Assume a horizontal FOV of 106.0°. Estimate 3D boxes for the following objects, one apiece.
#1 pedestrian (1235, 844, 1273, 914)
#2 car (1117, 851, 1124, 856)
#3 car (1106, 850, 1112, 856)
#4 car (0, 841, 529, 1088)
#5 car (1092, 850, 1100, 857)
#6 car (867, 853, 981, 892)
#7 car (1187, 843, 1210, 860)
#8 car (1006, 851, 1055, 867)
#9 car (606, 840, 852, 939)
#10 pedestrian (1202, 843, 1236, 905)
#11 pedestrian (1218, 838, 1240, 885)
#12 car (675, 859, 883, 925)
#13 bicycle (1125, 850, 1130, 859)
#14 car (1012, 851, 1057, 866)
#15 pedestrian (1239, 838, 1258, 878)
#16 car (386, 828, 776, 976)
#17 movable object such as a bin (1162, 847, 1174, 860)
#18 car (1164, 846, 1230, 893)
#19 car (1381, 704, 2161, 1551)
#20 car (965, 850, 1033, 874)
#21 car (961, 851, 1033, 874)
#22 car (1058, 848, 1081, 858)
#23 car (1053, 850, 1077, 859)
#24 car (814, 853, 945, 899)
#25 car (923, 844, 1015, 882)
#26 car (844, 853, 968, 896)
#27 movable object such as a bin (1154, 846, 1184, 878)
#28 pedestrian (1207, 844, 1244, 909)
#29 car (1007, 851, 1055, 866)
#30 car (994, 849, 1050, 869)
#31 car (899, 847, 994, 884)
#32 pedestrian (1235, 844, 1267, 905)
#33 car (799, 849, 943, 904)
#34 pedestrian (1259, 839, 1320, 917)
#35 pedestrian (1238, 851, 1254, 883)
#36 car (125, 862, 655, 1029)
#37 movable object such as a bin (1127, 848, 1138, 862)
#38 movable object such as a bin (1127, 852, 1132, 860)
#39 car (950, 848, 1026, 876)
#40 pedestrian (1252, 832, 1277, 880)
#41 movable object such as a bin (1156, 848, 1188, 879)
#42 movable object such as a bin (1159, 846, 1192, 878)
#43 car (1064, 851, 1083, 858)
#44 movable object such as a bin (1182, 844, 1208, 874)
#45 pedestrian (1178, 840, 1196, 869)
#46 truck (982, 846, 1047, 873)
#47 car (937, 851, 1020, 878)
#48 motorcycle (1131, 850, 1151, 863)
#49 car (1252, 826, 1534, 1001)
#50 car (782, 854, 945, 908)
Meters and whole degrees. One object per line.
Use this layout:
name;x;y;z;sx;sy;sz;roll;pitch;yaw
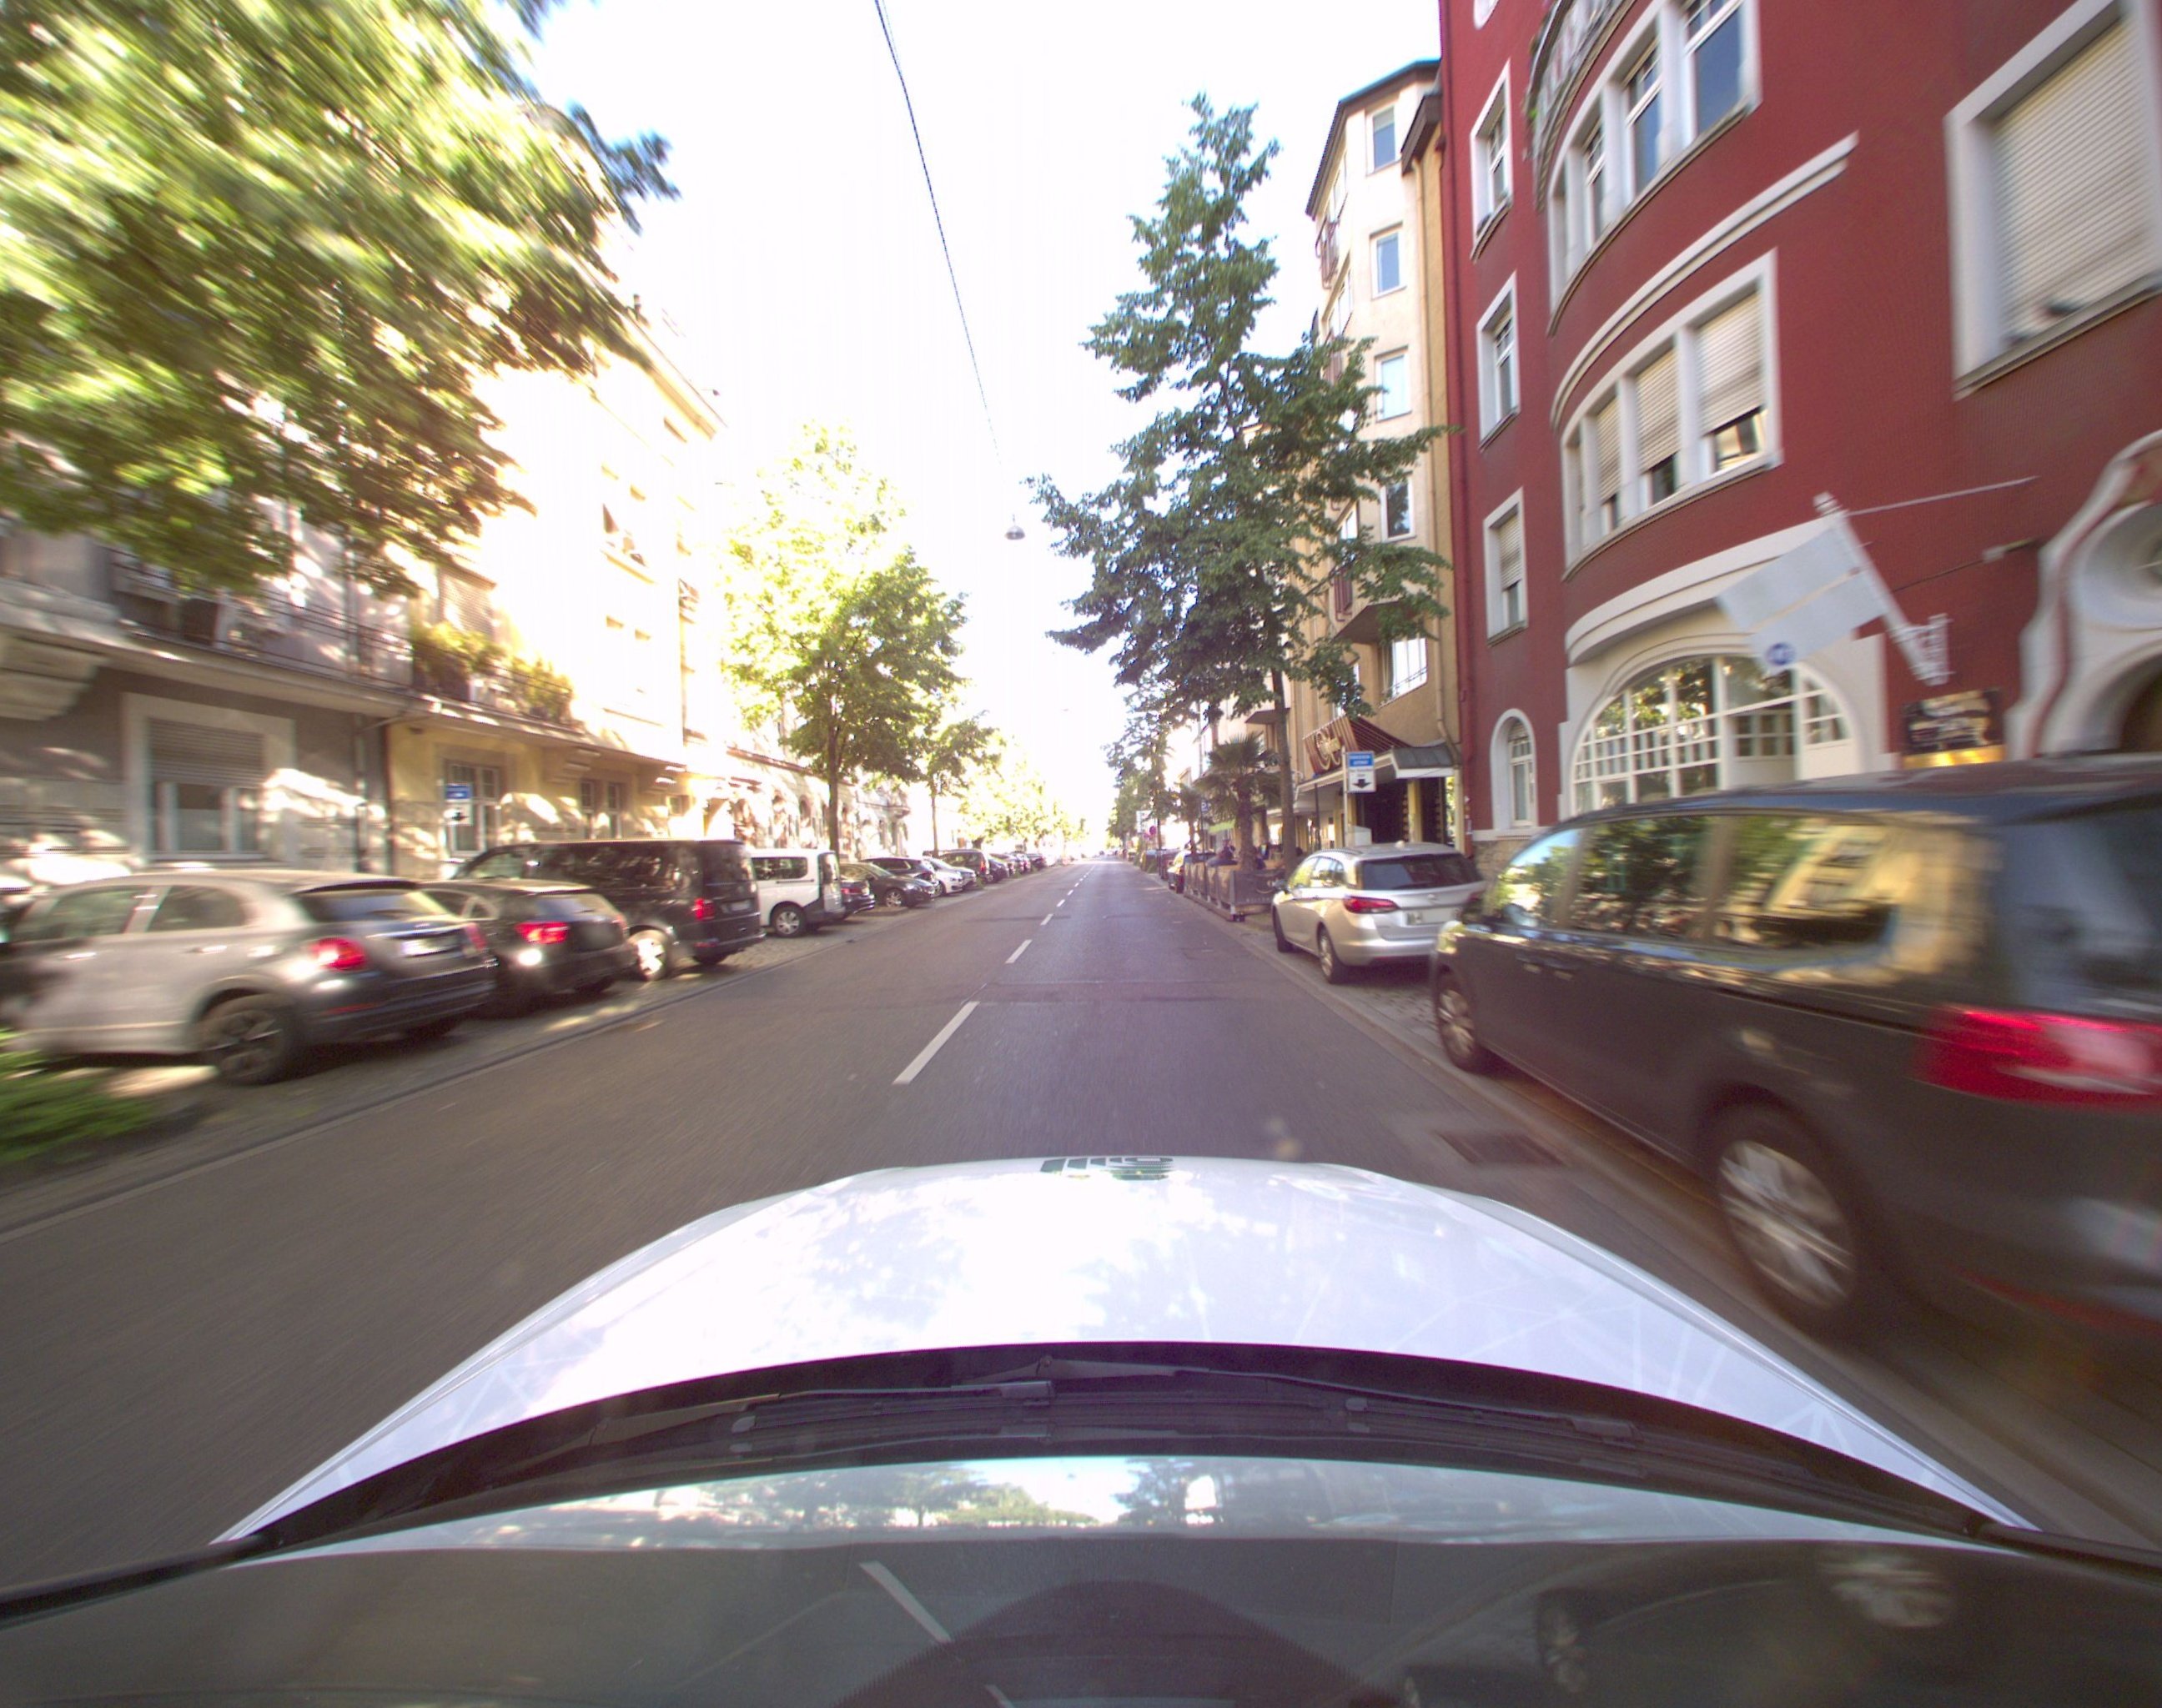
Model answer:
pedestrian;3.965;0.563;18.730;0.690;1.536;0.777;-2;0;3
car;11.441;-0.121;236.172;1.986;1.508;4.001;-1;-1;1
car;7.582;-0.324;220.671;1.786;1.411;4.002;-2;0;2
car;-7.505;0.820;6.864;4.326;1.733;1.916;-1;0;-1
car;3.667;-0.115;196.872;1.796;1.435;4.410;-4;0;1
car;-6.708;0.786;35.063;4.445;1.541;1.919;-1;0;5
car;12.127;-0.298;84.047;1.893;1.648;4.297;-2;0;3
car;-4.910;0.496;79.731;4.667;1.465;1.807;-1;0;-2
car;-7.215;0.686;17.113;4.337;1.834;1.911;-1;0;-8
pedestrian;3.573;0.502;21.157;0.648;1.536;0.980;-2;0;0
pedestrian;5.585;0.278;30.689;0.615;1.695;0.762;-2;0;-1
car;-7.270;0.882;19.956;4.325;1.439;1.916;-1;0;0
bicycle;7.709;0.044;135.147;0.558;1.441;1.629;-8;0;2
car;-4.983;0.478;87.312;4.667;1.412;1.807;-1;0;-2
pedestrian;6.928;0.161;33.652;0.614;1.642;0.763;-2;0;3
car;-7.152;0.665;11.950;4.552;1.927;1.932;-1;0;4
movable object such as a bin;10.124;-0.044;94.964;1.266;1.530;1.176;-2;0;0
car;4.151;0.512;29.900;1.815;1.472;4.914;-4;0;2
car;3.172;0.505;4.117;1.813;1.777;4.938;-4;0;5
car;-5.941;0.581;59.139;4.661;1.572;1.809;-1;0;3
car;-5.790;0.576;56.265;4.661;1.519;1.809;-1;0;3
car;-2.147;-0.163;150.164;3.966;1.694;2.004;-2;0;6
car;-2.626;0.126;137.253;3.973;1.390;2.000;-2;0;0
car;-7.361;0.788;30.083;4.323;1.582;1.809;-1;0;1
car;-6.085;0.463;44.577;4.661;1.950;1.918;-1;0;3
car;-6.860;0.795;32.271;4.450;1.541;1.917;-1;0;1
movable object such as a bin;4.400;0.408;40.790;1.325;1.542;1.146;-2;0;2
pedestrian;3.524;0.536;19.858;0.743;1.536;0.811;-2;0;16
car;-5.038;0.444;82.297;4.667;1.465;1.807;-1;0;-2
car;-5.185;0.442;71.855;4.661;1.693;1.809;-1;0;3
car;-6.828;0.578;41.685;4.447;1.772;1.918;-1;0;3
pedestrian;4.418;0.527;21.110;0.706;1.536;0.773;-2;0;16
car;-7.083;0.733;27.794;4.323;1.709;1.917;-1;0;1
pedestrian;4.302;0.493;16.877;1.051;1.536;0.893;-2;0;6
pedestrian;6.205;0.479;30.615;0.441;1.163;0.501;-2;0;-1
car;-7.550;0.939;9.273;4.326;1.595;1.916;-1;0;-1
movable object such as a bin;6.304;0.120;98.990;1.135;1.562;1.463;-2;0;10
movable object such as a bin;6.881;0.312;116.105;0.619;1.179;0.711;-2;0;-1
car;-6.025;0.510;53.332;4.661;1.712;1.809;-1;0;3
pedestrian;6.550;0.076;29.113;0.506;1.695;0.623;-2;0;-35
movable object such as a bin;4.408;0.446;39.625;1.393;1.454;1.146;-2;0;2
movable object such as a bin;4.432;0.372;38.414;1.393;1.454;1.146;-2;0;2
car;-1.575;0.089;172.935;3.973;1.500;2.000;-2;0;0
movable object such as a bin;5.698;0.239;40.764;1.073;1.431;1.296;-2;0;2
pedestrian;7.051;0.032;53.984;0.916;1.935;0.765;-2;0;27
truck;-5.377;0.416;66.402;5.066;1.938;2.000;-2;0;1
car;-5.991;0.597;47.942;4.628;1.459;1.684;-1;0;1
motorcycle;6.564;0.279;88.640;1.978;1.330;0.908;-2;0;-11
car;3.589;0.582;10.475;1.815;1.596;4.844;-4;0;2
car;-6.665;0.811;25.295;4.446;1.541;1.918;-1;0;3
